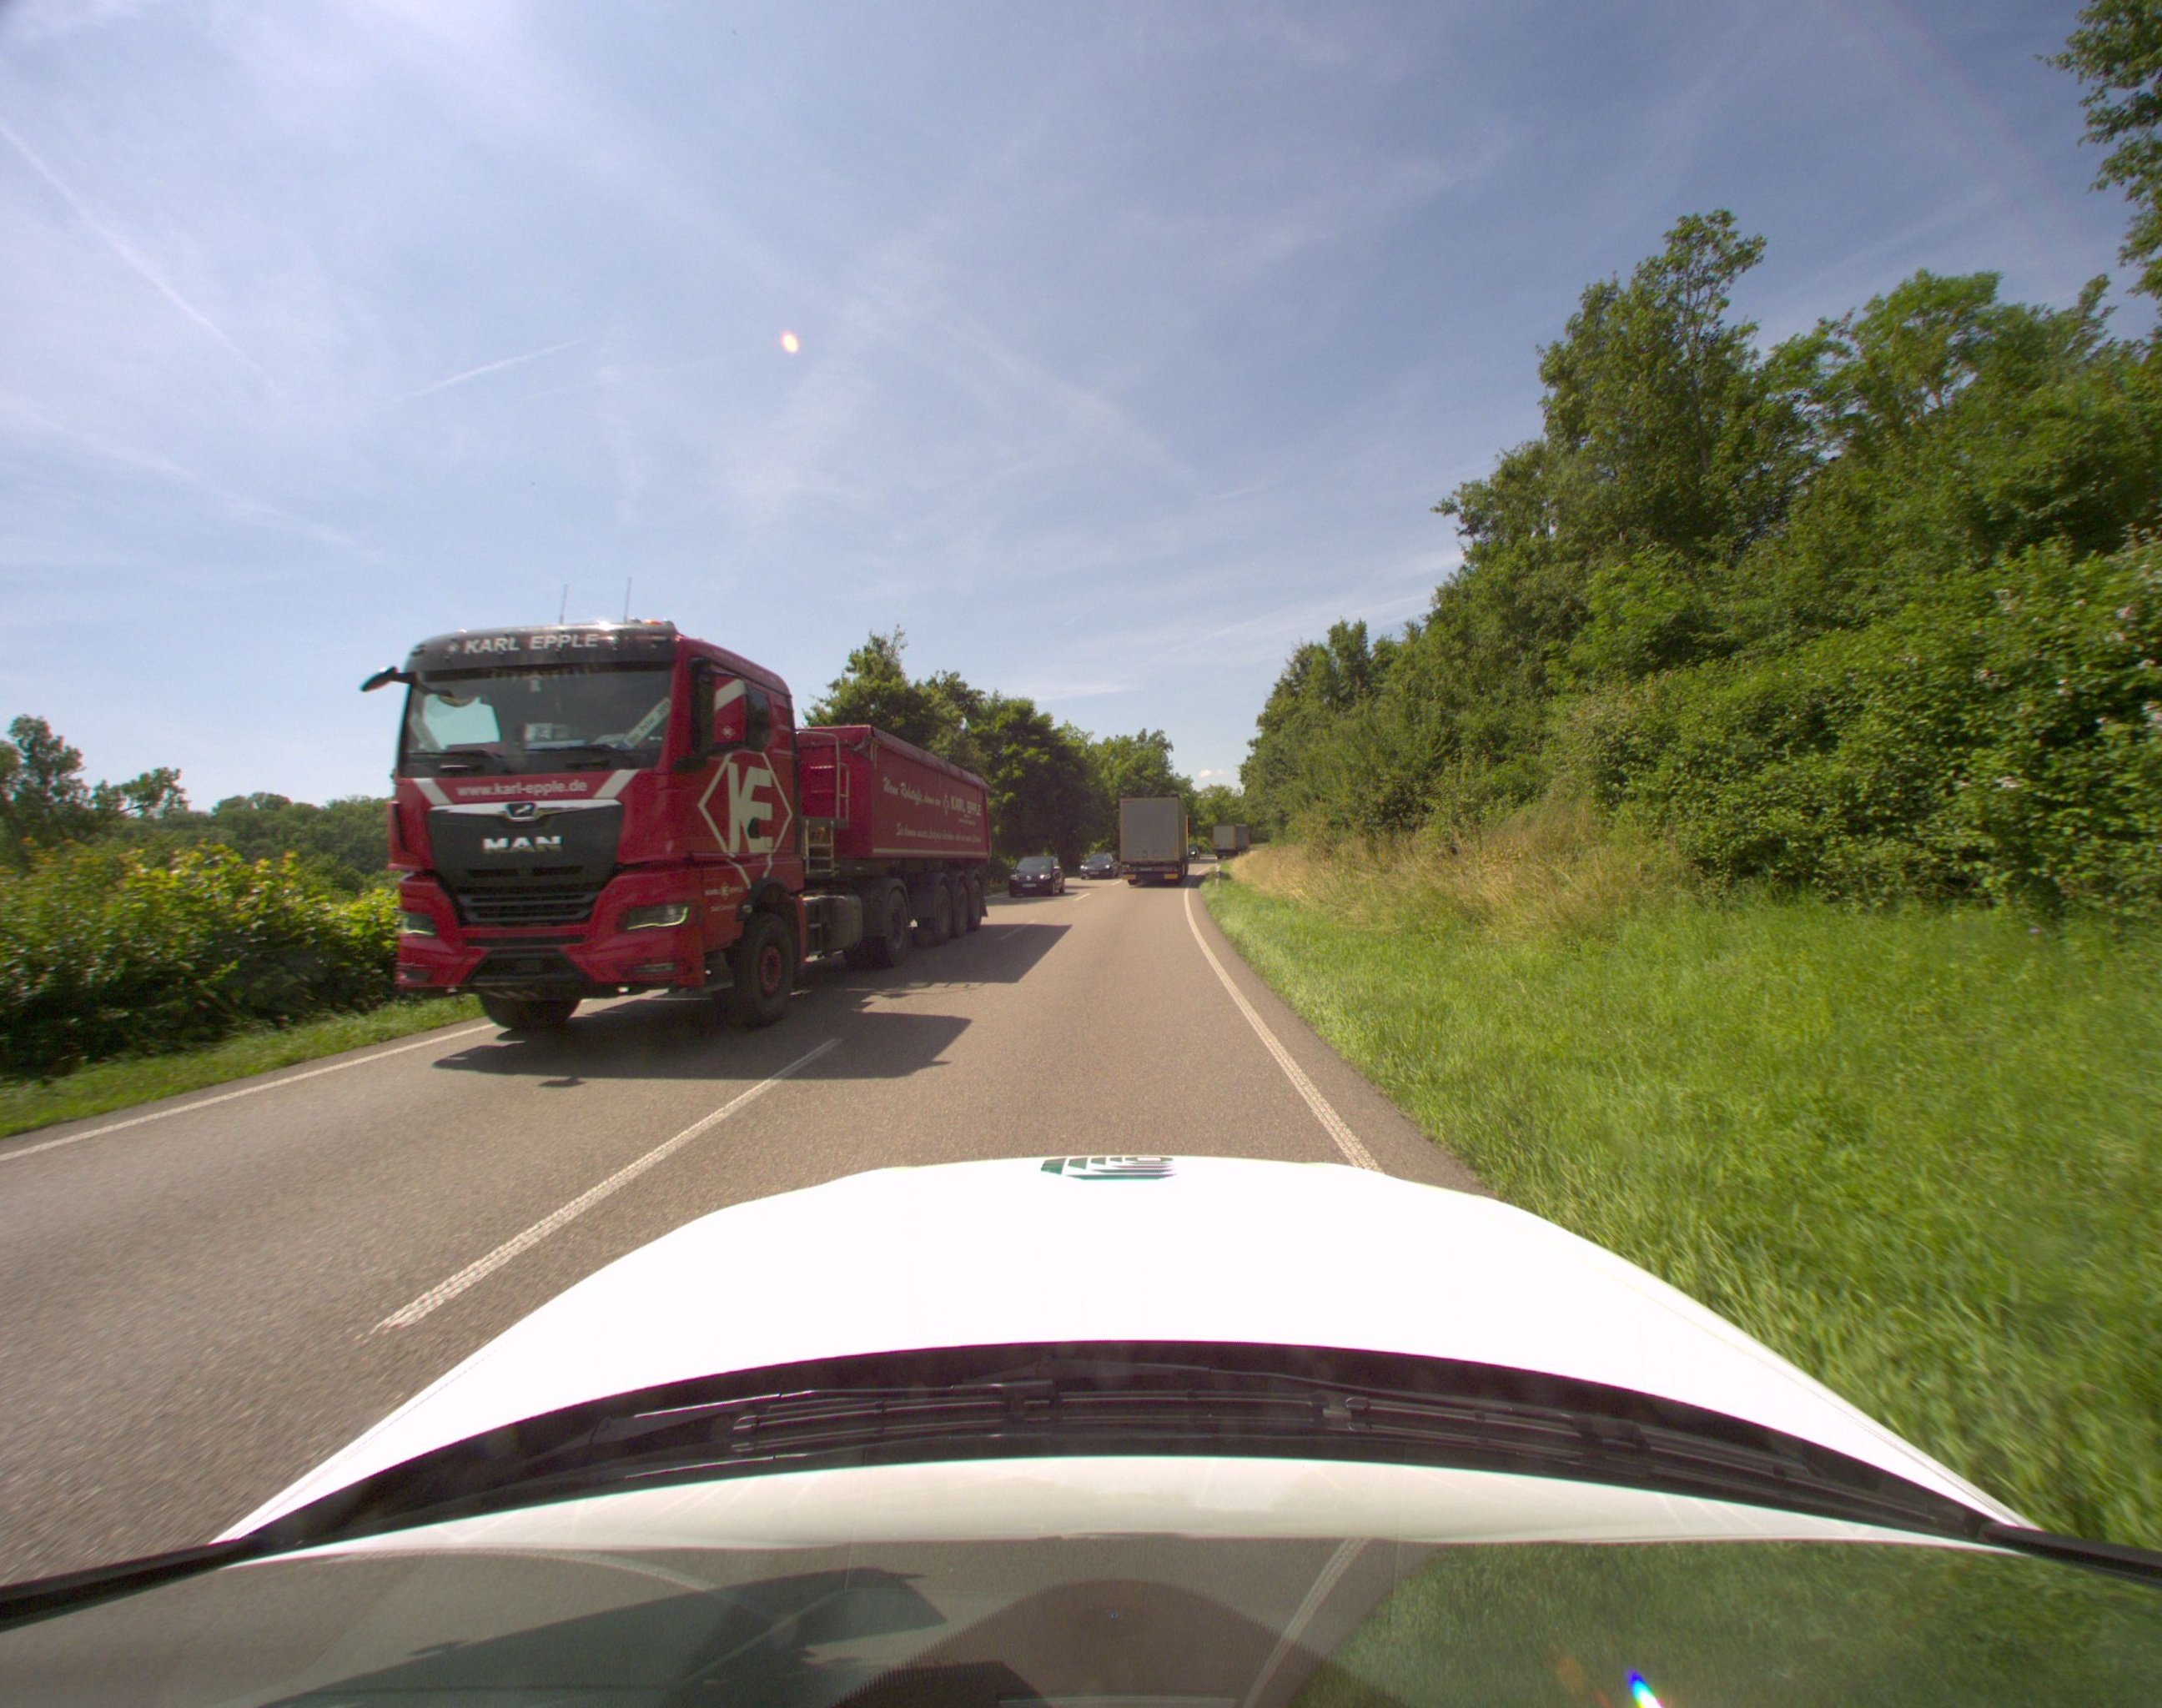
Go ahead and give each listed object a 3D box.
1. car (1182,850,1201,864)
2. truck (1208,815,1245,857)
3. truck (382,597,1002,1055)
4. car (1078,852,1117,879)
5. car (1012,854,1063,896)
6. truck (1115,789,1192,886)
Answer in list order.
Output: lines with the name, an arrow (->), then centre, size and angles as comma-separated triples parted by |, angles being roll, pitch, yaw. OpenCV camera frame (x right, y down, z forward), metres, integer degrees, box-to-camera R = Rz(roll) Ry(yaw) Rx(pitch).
car -> 13.074, 0.306, 96.184 | 1.658, 1.531, 3.973 | -2, 0, 14
truck -> 18.186, -2.278, 100.744 | 3.082, 4.705, 16.655 | -2, 1, 14
truck -> -3.638, -0.197, 12.573 | 2.540, 3.452, 12.650 | -2, 0, 5
car -> 0.989, 0.621, 46.650 | 1.700, 1.471, 4.384 | -1, 0, 8
car -> -1.581, 0.743, 30.378 | 1.423, 1.471, 3.276 | -1, 0, 5
truck -> 4.104, -0.772, 42.282 | 2.785, 4.068, 15.365 | -1, 0, 9
